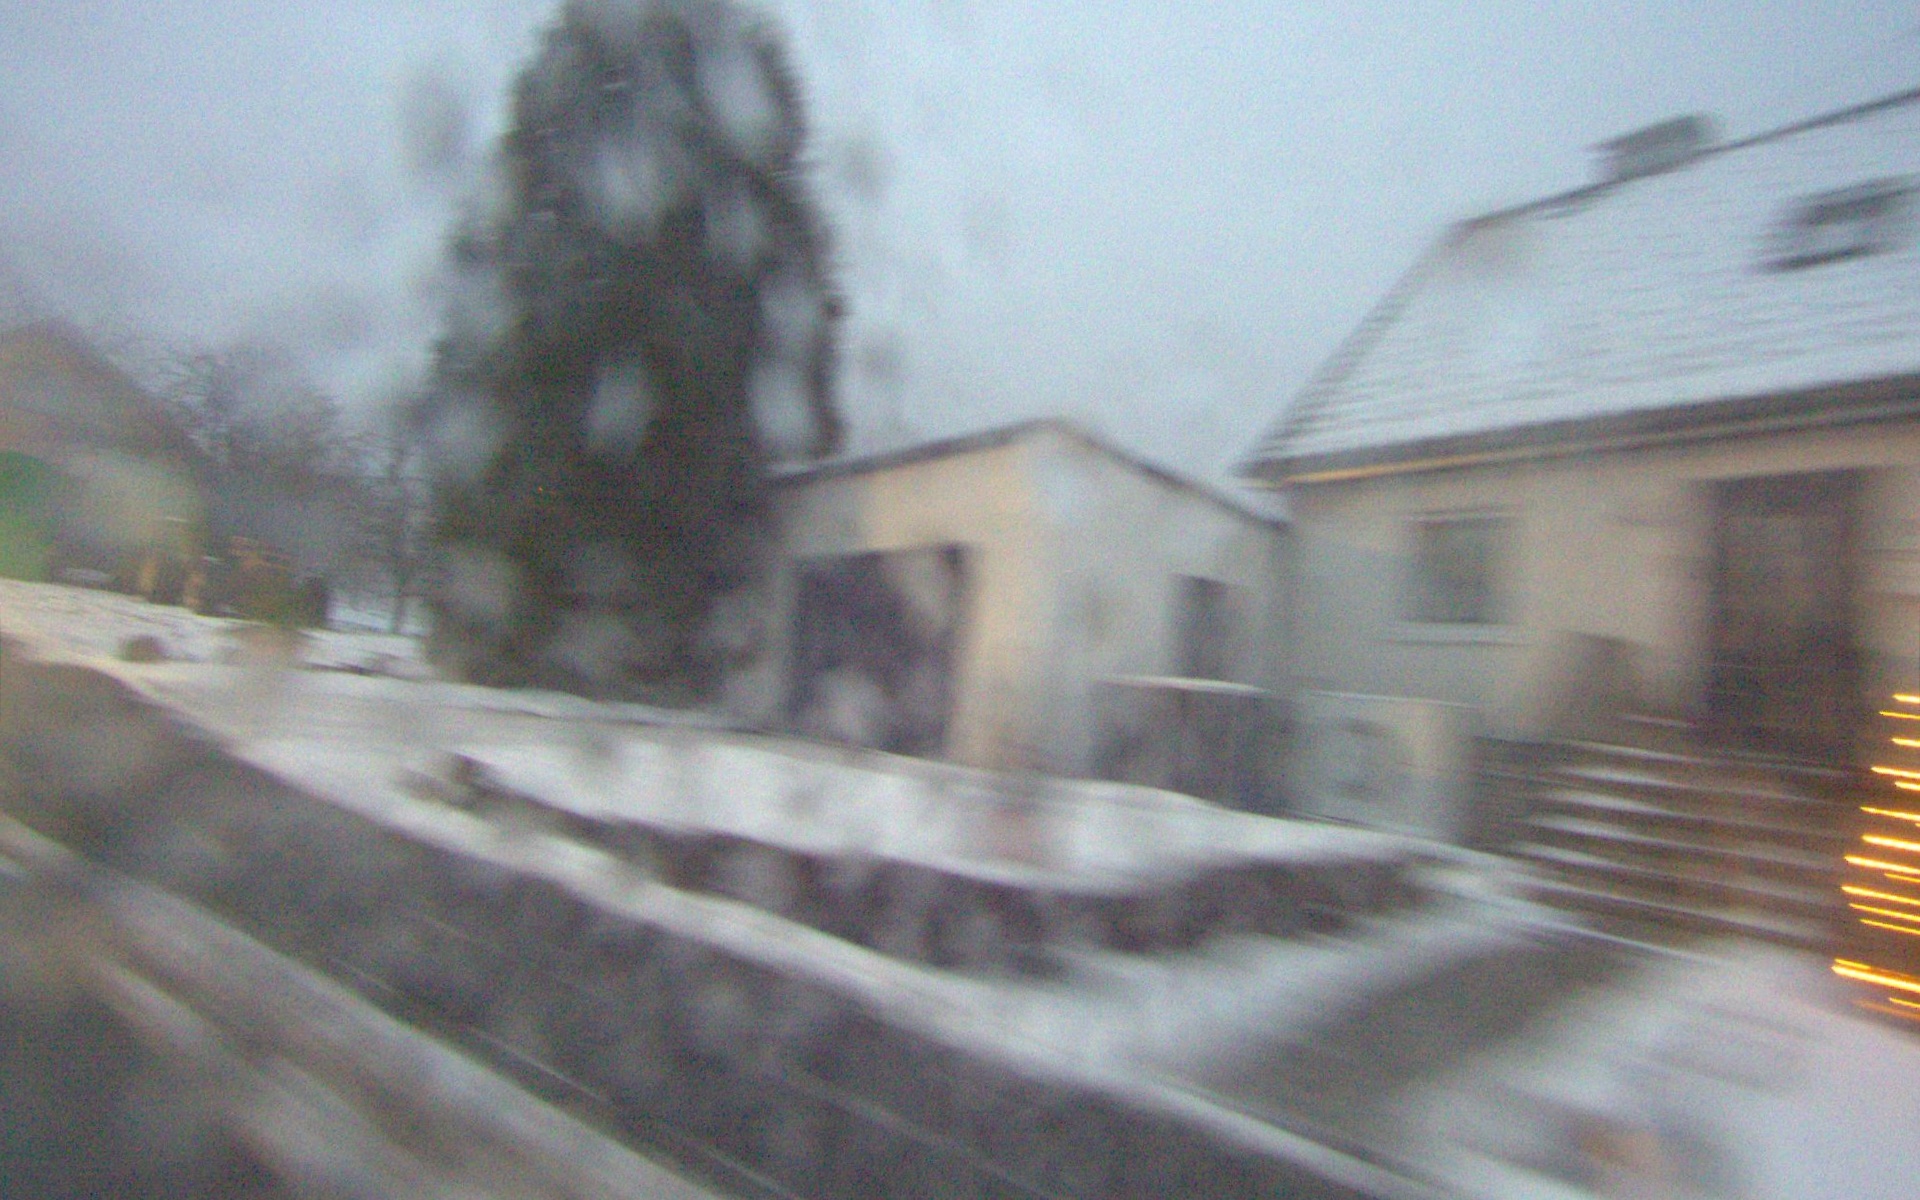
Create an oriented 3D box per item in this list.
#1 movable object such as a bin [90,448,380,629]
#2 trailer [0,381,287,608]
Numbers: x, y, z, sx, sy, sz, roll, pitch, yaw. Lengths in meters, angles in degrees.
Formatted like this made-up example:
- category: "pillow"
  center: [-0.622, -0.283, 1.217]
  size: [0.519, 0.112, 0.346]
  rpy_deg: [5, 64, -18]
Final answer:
- category: "movable object such as a bin"
  center: [-12.447, -1.061, 17.229]
  size: [4.443, 2.496, 2.391]
  rpy_deg: [6, -3, 34]
- category: "trailer"
  center: [-16.265, -2.024, 19.544]
  size: [4.974, 3.600, 2.884]
  rpy_deg: [6, -3, 27]
